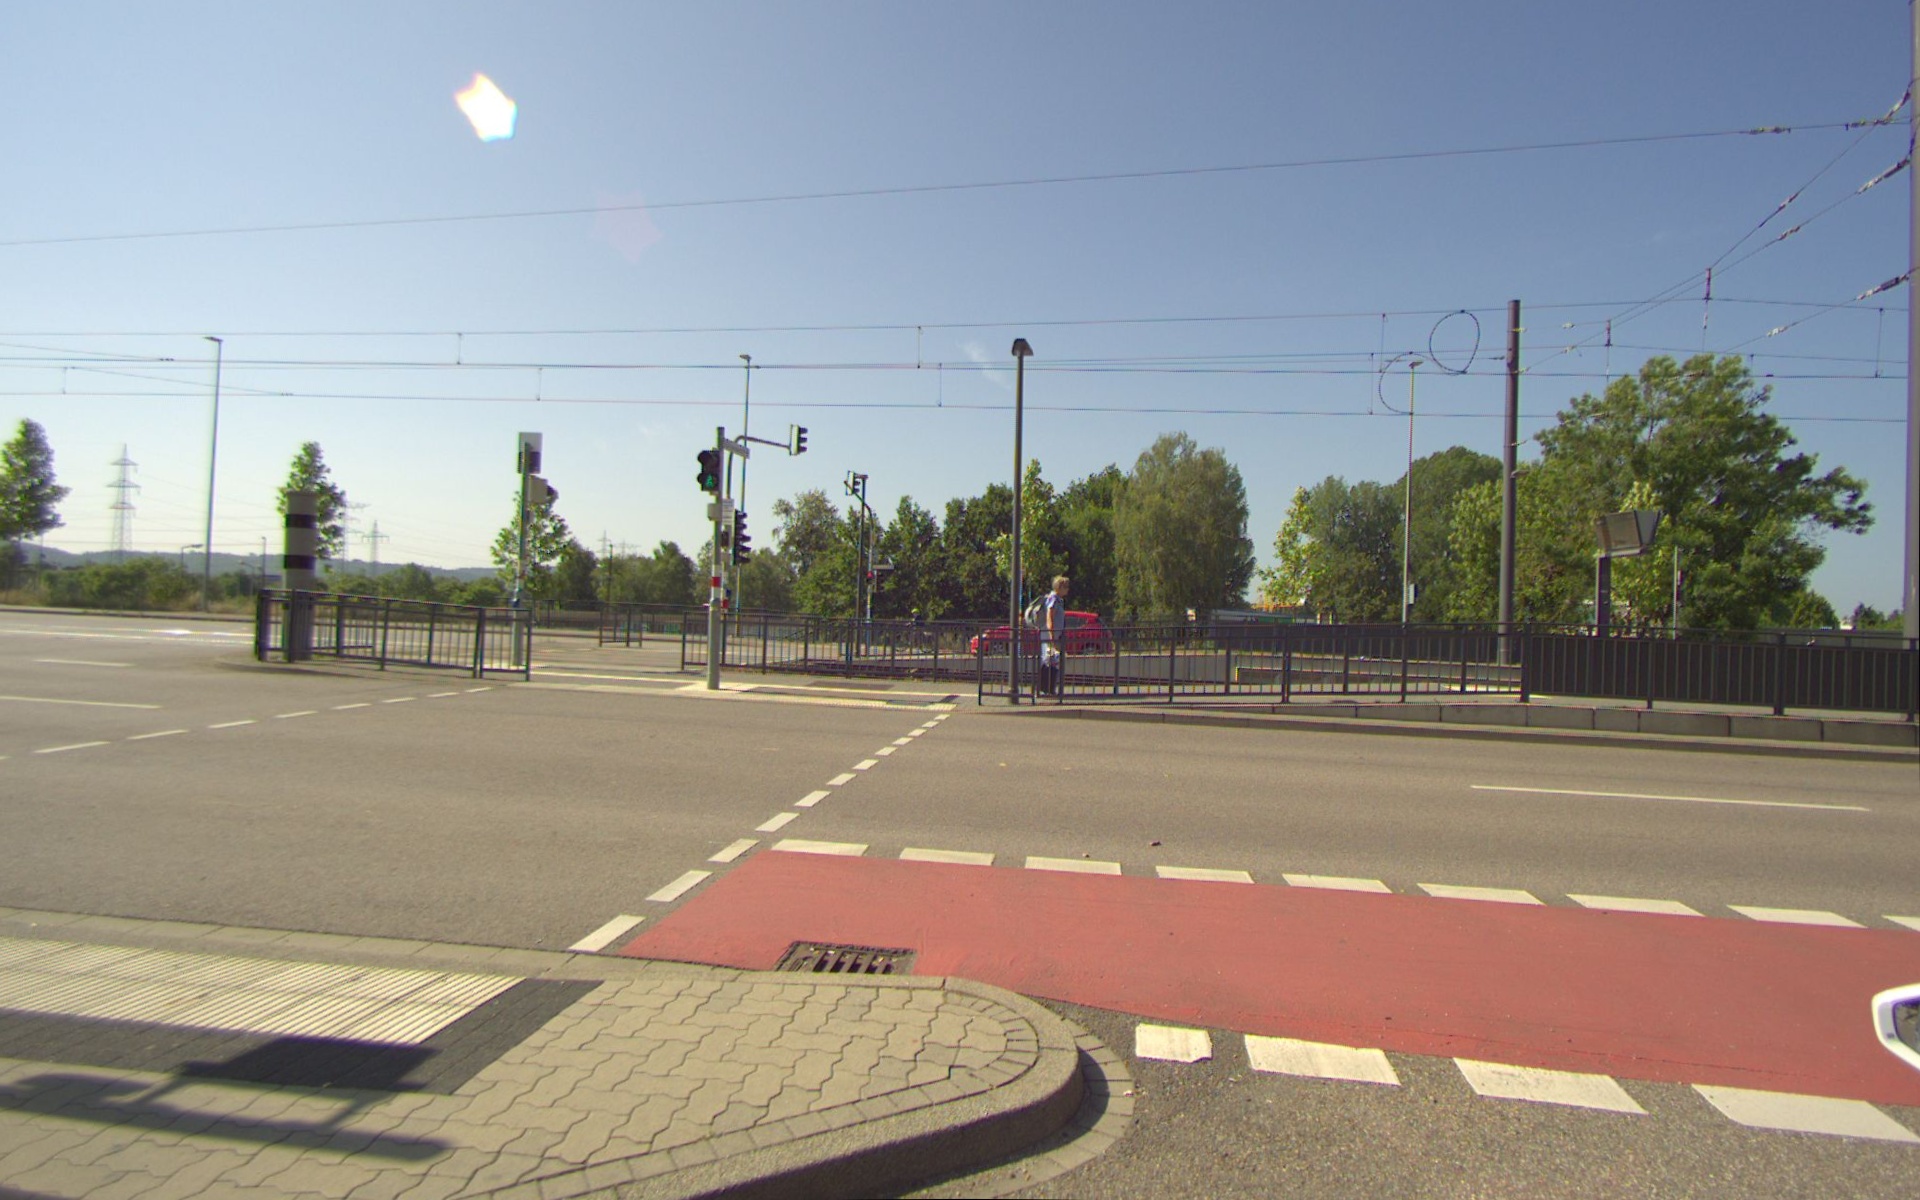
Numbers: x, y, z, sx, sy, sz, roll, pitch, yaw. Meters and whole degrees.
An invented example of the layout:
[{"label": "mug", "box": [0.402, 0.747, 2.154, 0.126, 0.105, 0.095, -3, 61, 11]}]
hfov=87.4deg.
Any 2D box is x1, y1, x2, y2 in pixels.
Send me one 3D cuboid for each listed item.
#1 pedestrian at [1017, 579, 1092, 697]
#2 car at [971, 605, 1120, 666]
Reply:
[{"label": "pedestrian", "box": [1.313, 0.501, 13.803, 0.760, 1.531, 1.007, 2, 0, 20]}, {"label": "car", "box": [2.368, 0.954, 27.773, 3.919, 1.464, 1.748, 2, 0, 6]}]
